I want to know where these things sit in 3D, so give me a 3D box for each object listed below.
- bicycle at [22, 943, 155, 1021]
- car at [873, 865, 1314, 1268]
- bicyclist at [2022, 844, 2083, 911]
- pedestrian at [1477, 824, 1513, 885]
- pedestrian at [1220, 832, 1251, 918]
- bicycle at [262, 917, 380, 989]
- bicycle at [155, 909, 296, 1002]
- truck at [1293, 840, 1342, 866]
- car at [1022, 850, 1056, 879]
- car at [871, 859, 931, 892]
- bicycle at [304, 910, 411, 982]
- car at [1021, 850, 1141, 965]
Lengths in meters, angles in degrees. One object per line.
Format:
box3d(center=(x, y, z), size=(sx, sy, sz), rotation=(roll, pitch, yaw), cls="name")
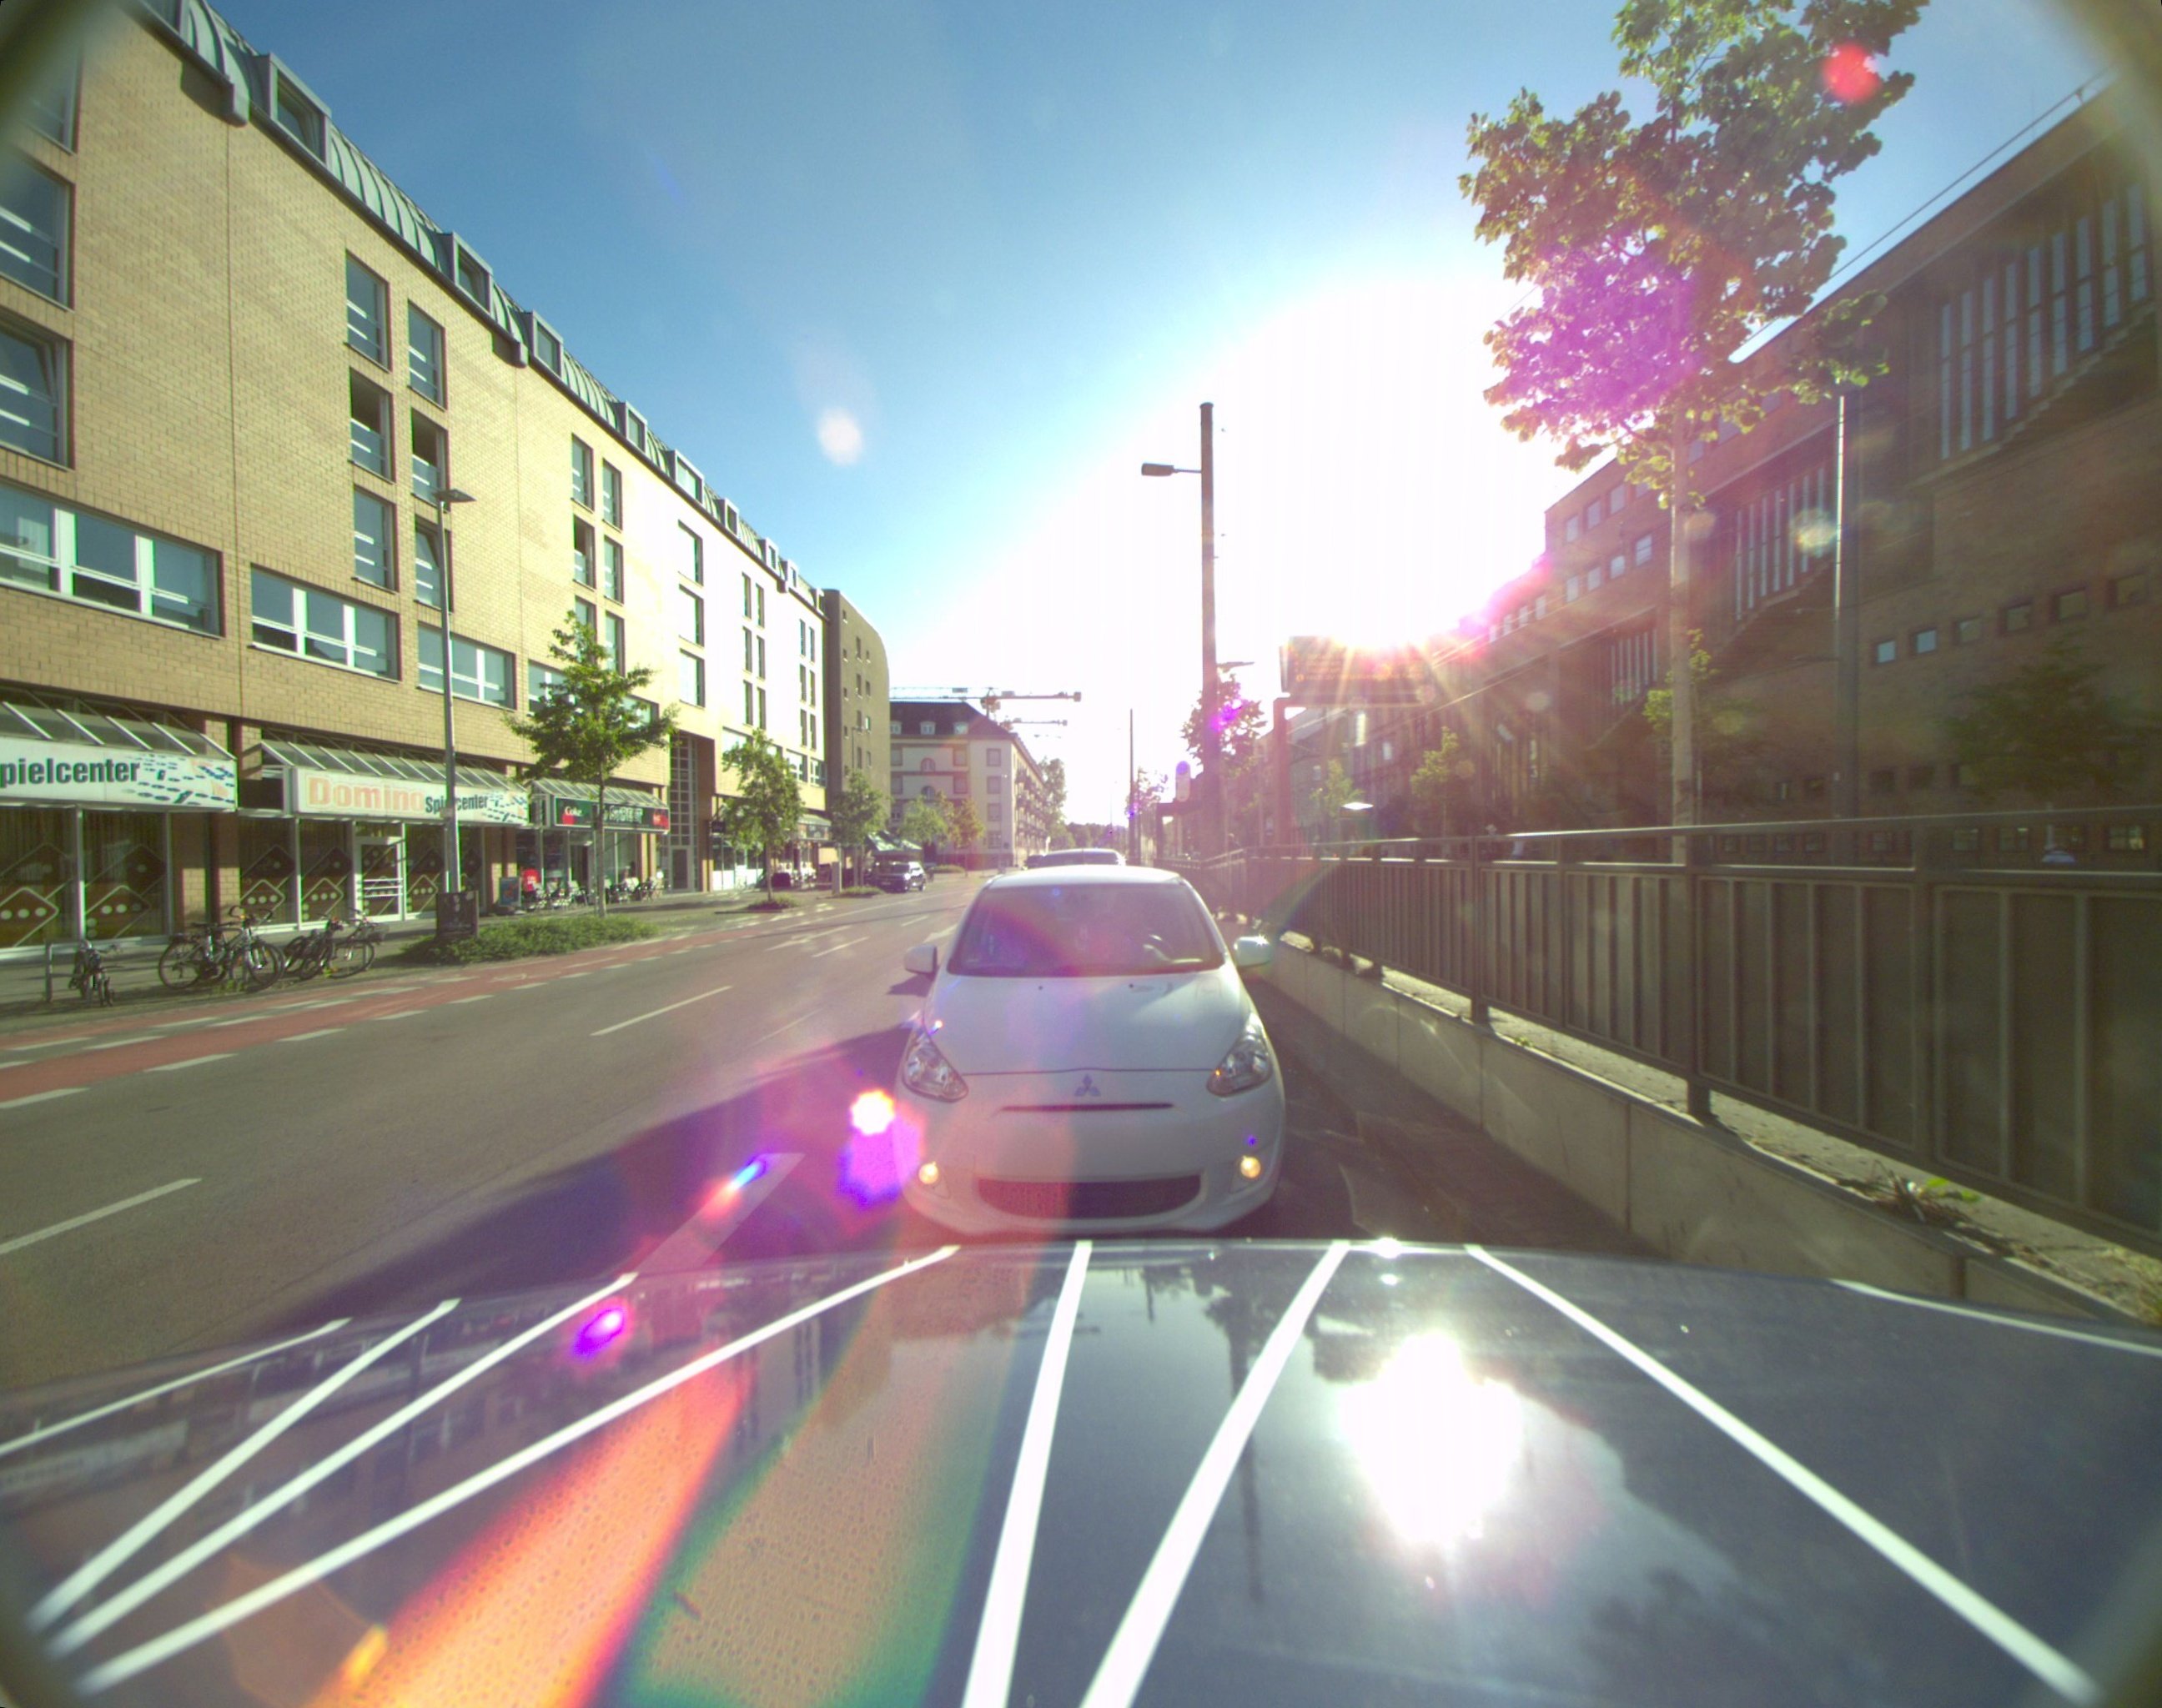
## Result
box3d(center=(-12.716, 1.626, 9.736), size=(1.772, 0.827, 0.366), rotation=(1, 2, 15), cls="bicycle")
box3d(center=(0.050, 0.891, 5.168), size=(1.720, 1.422, 4.215), rotation=(-2, 1, 0), cls="car")
box3d(center=(22.676, 0.538, 17.738), size=(0.588, 1.525, 0.650), rotation=(-2, 2, 1), cls="bicyclist")
box3d(center=(12.497, 0.002, 22.929), size=(0.685, 1.797, 0.668), rotation=(-2, 2, 0), cls="pedestrian")
box3d(center=(4.453, 0.590, 21.946), size=(0.684, 2.428, 0.626), rotation=(-2, 2, -2), cls="pedestrian")
box3d(center=(-12.023, 1.546, 12.017), size=(1.835, 0.980, 0.449), rotation=(1, 2, 15), cls="bicycle")
box3d(center=(-12.340, 1.436, 10.961), size=(1.835, 1.156, 0.565), rotation=(1, 2, 15), cls="bicycle")
box3d(center=(17.799, -0.065, 57.371), size=(1.999, 1.868, 5.155), rotation=(1, 0, 0), cls="truck")
box3d(center=(-2.960, 0.707, 54.878), size=(2.164, 1.904, 4.472), rotation=(-2, 0, 0), cls="car")
box3d(center=(-9.775, 1.143, 41.575), size=(1.778, 1.630, 4.002), rotation=(-1, 0, 9), cls="car")
box3d(center=(-11.892, 1.497, 12.484), size=(1.835, 1.050, 0.350), rotation=(1, 2, 15), cls="bicycle")
box3d(center=(-0.005, 0.797, 13.508), size=(1.720, 1.591, 4.215), rotation=(-2, 1, 0), cls="car")
